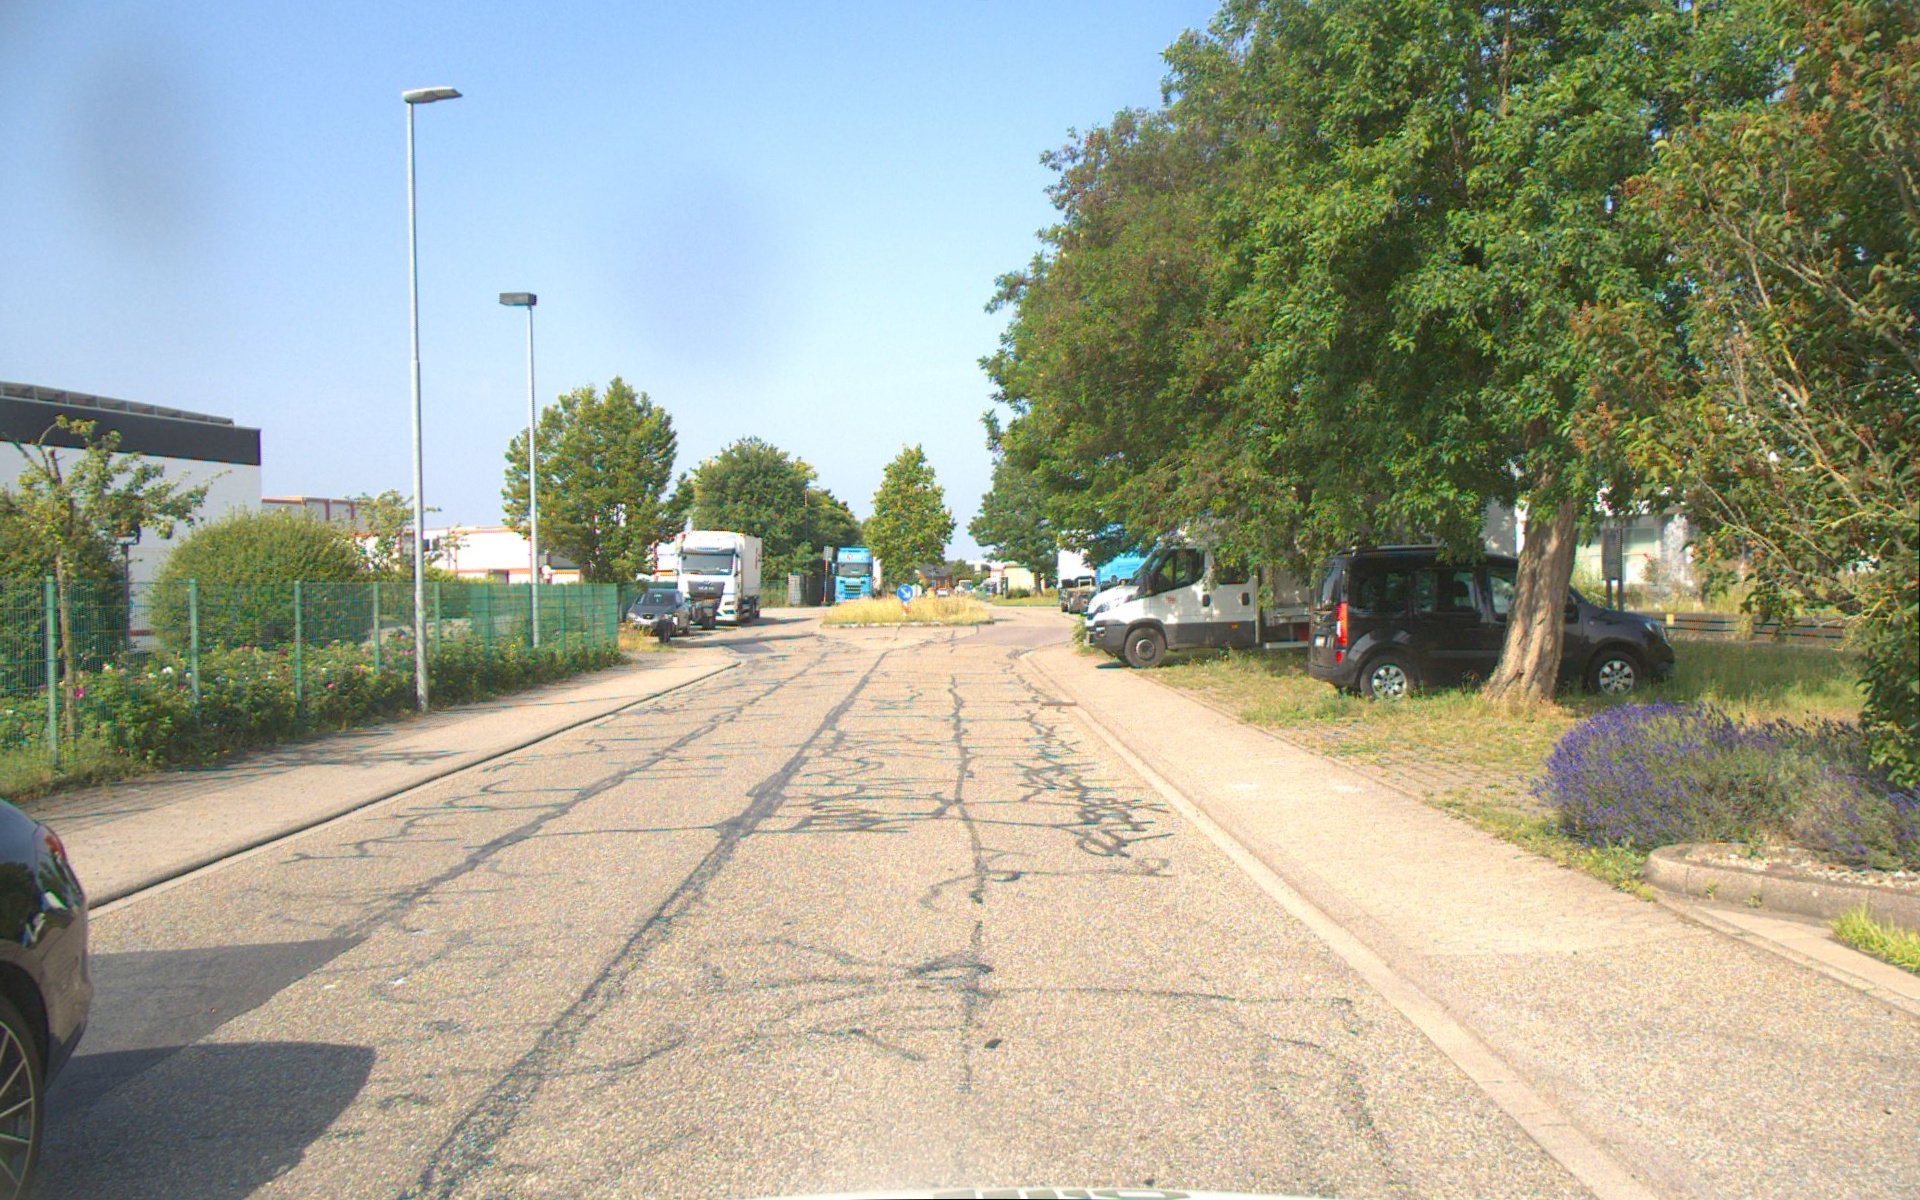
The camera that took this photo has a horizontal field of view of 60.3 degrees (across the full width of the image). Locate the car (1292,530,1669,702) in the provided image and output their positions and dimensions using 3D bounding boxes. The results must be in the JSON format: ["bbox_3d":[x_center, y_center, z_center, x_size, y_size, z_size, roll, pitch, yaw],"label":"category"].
[{"bbox_3d":[6.177,0.178,20.005,3.905,1.870,2.000,-2,0,0],"label":"car"}]

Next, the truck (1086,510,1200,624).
[{"bbox_3d":[6.467,-1.067,59.974,2.830,3.596,9.754,-5,0,0],"label":"truck"}]

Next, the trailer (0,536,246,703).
[{"bbox_3d":[-24.201,0.496,42.743,2.429,4.112,13.898,0,-1,15],"label":"trailer"}]

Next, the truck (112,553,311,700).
[{"bbox_3d":[-22.369,0.780,49.763,2.459,4.143,5.547,0,-1,14],"label":"truck"}]

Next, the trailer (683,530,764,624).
[{"bbox_3d":[-10.518,-0.937,74.245,2.645,3.990,7.573,1,-1,-1],"label":"trailer"}]

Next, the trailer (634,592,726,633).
[{"bbox_3d":[-10.672,0.453,63.431,2.626,1.479,5.077,0,1,1],"label":"trailer"}]

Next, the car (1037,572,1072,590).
[{"bbox_3d":[7.483,-1.522,131.181,1.641,1.353,3.646,1,-1,-17],"label":"car"}]

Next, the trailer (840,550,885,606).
[{"bbox_3d":[-7.221,-1.534,123.766,2.773,3.910,12.033,1,-1,-1],"label":"trailer"}]

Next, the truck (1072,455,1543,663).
[{"bbox_3d":[6.257,-0.719,30.648,8.043,3.429,2.740,-2,-1,-2],"label":"truck"}]

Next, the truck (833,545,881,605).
[{"bbox_3d":[-7.058,-1.636,114.554,2.768,3.893,9.670,1,-1,-1],"label":"truck"}]

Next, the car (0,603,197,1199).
[{"bbox_3d":[-3.101,0.817,2.435,1.954,1.474,4.418,-4,0,-2],"label":"car"}]

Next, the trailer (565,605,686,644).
[{"bbox_3d":[-10.099,0.713,50.542,2.495,0.941,6.708,2,1,-2],"label":"trailer"}]

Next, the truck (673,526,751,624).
[{"bbox_3d":[-10.430,-1.006,69.929,2.654,3.990,4.295,1,-1,-1],"label":"truck"}]

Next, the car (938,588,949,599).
[{"bbox_3d":[-2.601,-0.986,257.390,1.683,1.690,3.821,1,-1,-2],"label":"car"}]

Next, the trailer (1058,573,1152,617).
[{"bbox_3d":[6.327,-0.239,74.863,2.690,1.601,16.170,-3,0,0],"label":"trailer"}]

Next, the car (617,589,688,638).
[{"bbox_3d":[-10.566,0.434,57.080,1.661,1.588,4.335,1,1,0],"label":"car"}]

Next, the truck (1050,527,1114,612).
[{"bbox_3d":[6.175,-1.536,83.919,2.690,4.050,4.000,-4,0,0],"label":"truck"}]

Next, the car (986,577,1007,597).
[{"bbox_3d":[3.426,-1.168,155.381,1.756,1.780,3.999,1,-1,-1],"label":"car"}]
